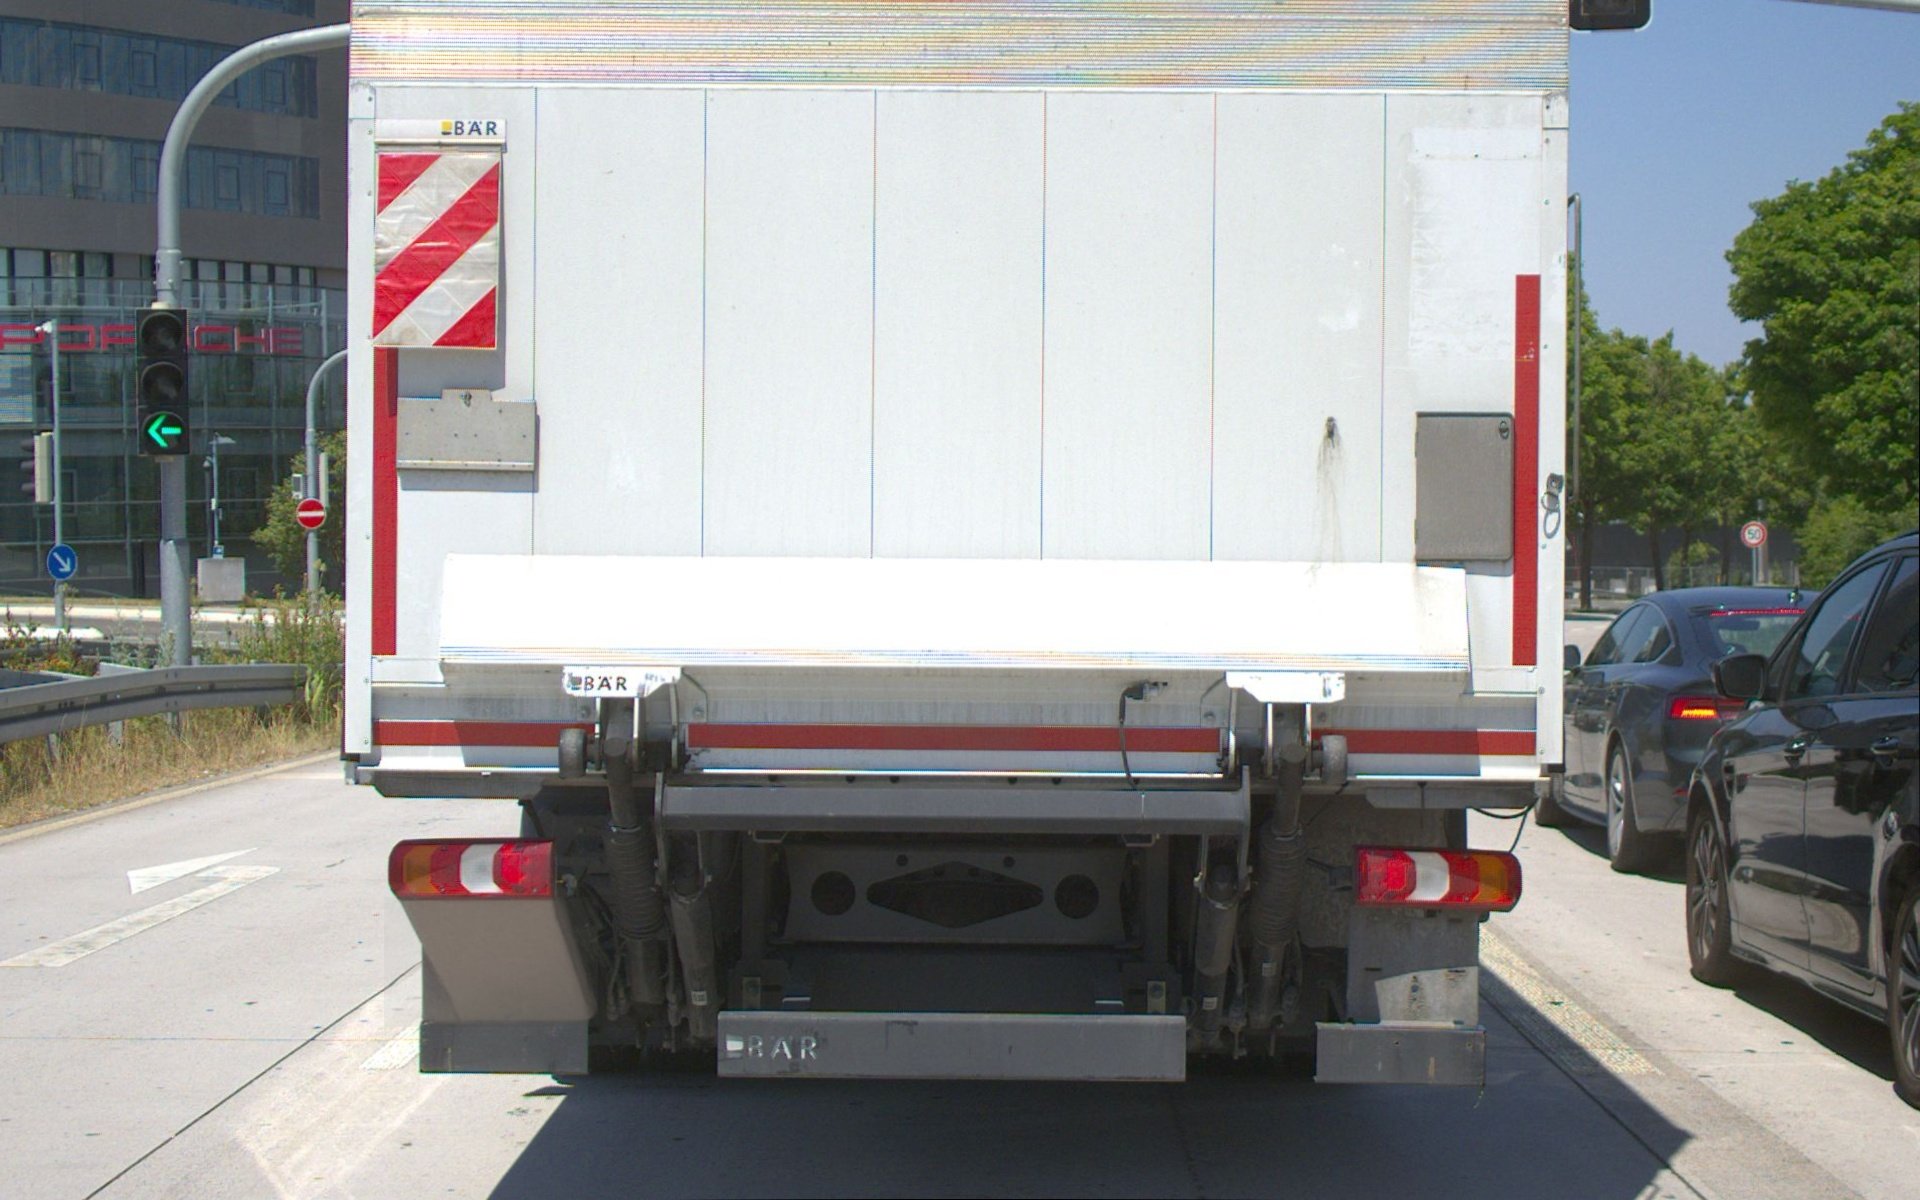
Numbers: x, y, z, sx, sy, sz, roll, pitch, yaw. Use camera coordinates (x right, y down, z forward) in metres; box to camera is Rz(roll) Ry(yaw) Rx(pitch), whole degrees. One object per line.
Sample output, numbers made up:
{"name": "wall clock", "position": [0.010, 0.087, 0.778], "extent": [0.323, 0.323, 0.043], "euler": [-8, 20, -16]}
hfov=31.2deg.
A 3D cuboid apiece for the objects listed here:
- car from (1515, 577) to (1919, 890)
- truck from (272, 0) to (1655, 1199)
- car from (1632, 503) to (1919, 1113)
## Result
{"name": "car", "position": [4.080, 0.596, 17.943], "extent": [1.768, 1.405, 4.609], "euler": [1, 0, 2]}
{"name": "truck", "position": [0.014, -0.549, 11.607], "extent": [2.769, 3.846, 9.370], "euler": [0, 0, 0]}
{"name": "car", "position": [3.461, 0.558, 10.671], "extent": [1.783, 1.634, 4.647], "euler": [1, 0, 0]}
